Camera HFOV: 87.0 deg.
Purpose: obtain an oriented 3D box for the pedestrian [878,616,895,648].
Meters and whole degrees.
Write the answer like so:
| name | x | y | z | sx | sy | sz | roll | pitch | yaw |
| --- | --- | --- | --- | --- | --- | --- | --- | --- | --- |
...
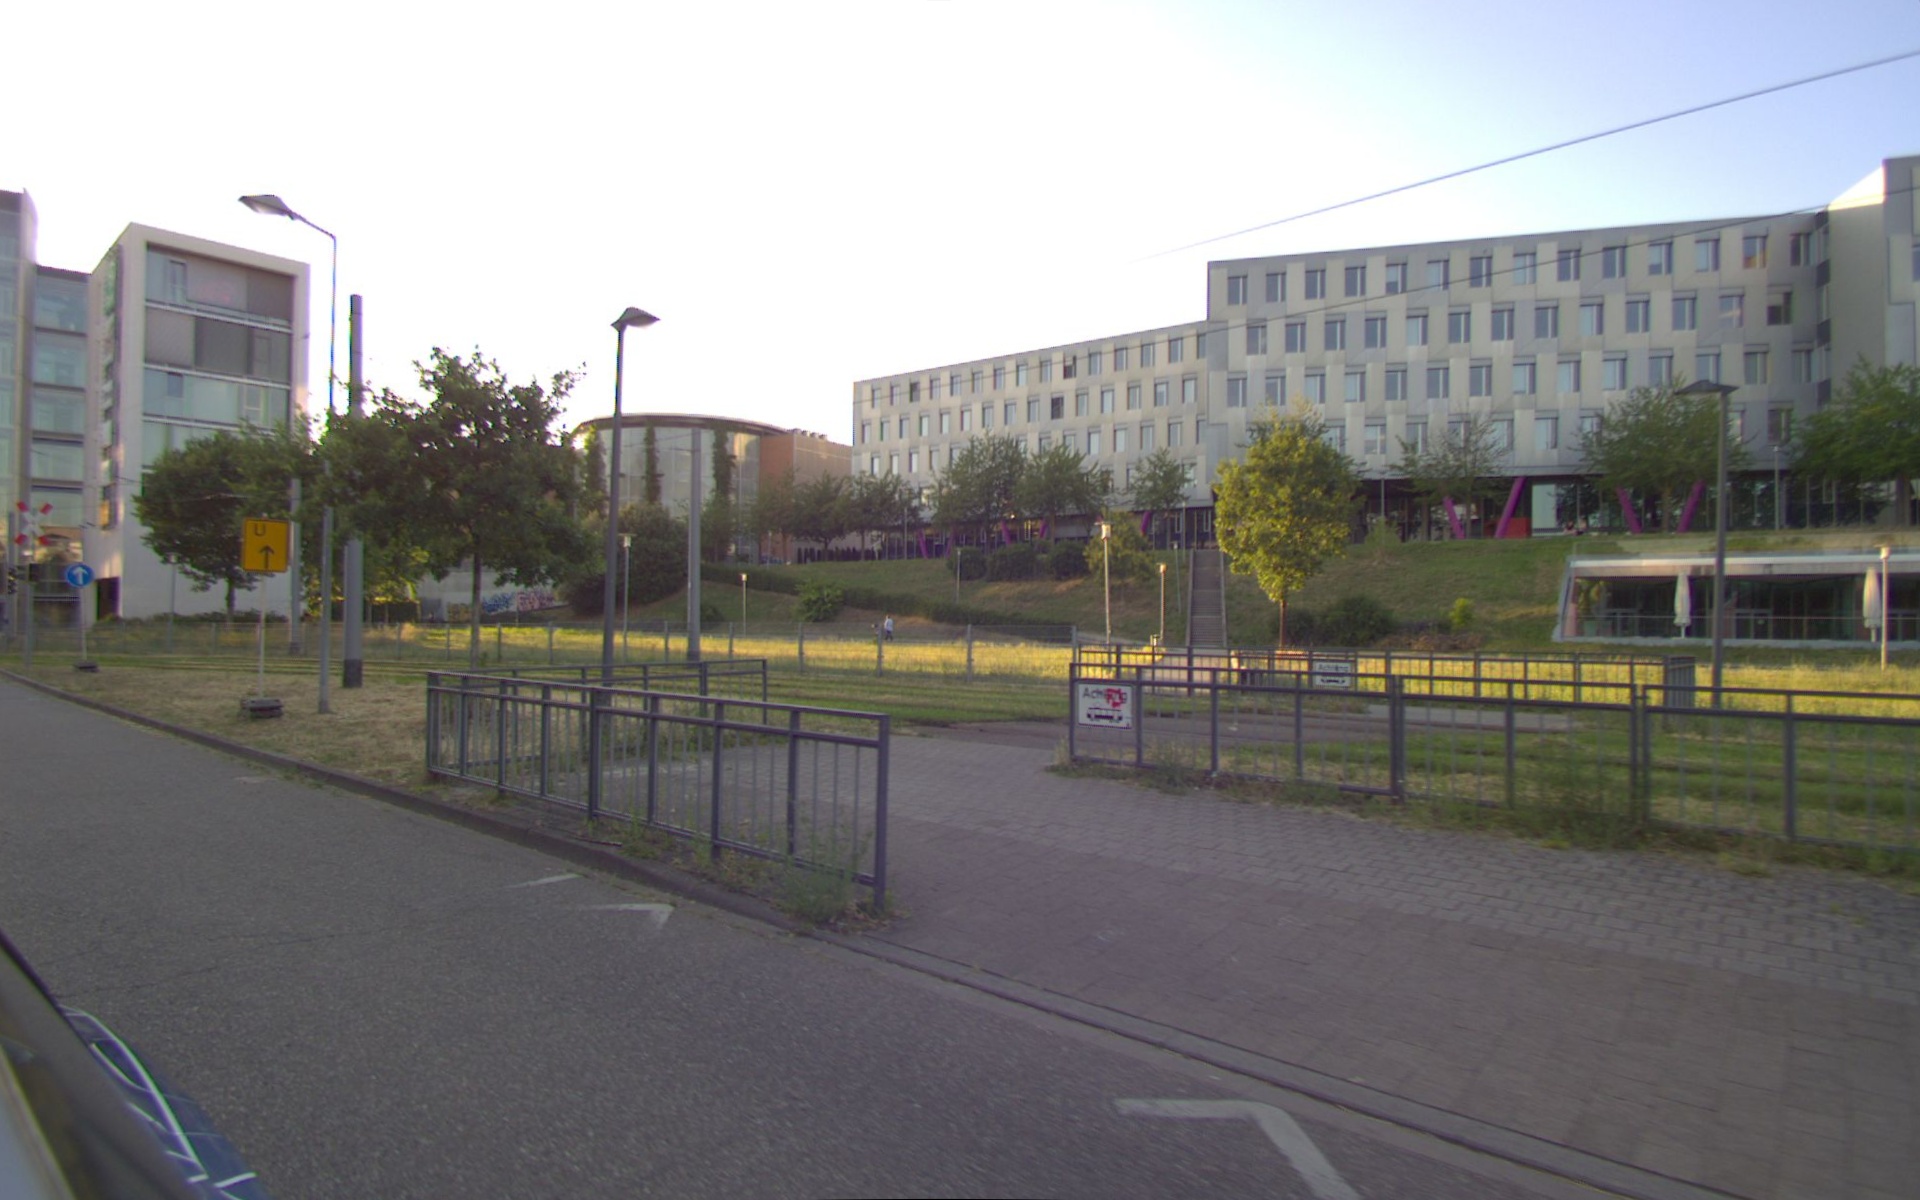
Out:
| name | x | y | z | sx | sy | sz | roll | pitch | yaw |
| --- | --- | --- | --- | --- | --- | --- | --- | --- | --- |
| pedestrian | -4.353 | 1.893 | 59.886 | 0.790 | 1.850 | 0.610 | -1 | 0 | 40 |

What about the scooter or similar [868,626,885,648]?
| name | x | y | z | sx | sy | sz | roll | pitch | yaw |
| --- | --- | --- | --- | --- | --- | --- | --- | --- | --- |
| scooter or similar | -4.983 | 2.191 | 60.443 | 0.790 | 1.253 | 0.610 | -1 | 0 | 40 |

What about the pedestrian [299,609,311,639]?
| name | x | y | z | sx | sy | sz | roll | pitch | yaw |
| --- | --- | --- | --- | --- | --- | --- | --- | --- | --- |
| pedestrian | -41.495 | 1.533 | 64.094 | 0.480 | 1.850 | 0.446 | -1 | 0 | 21 |
